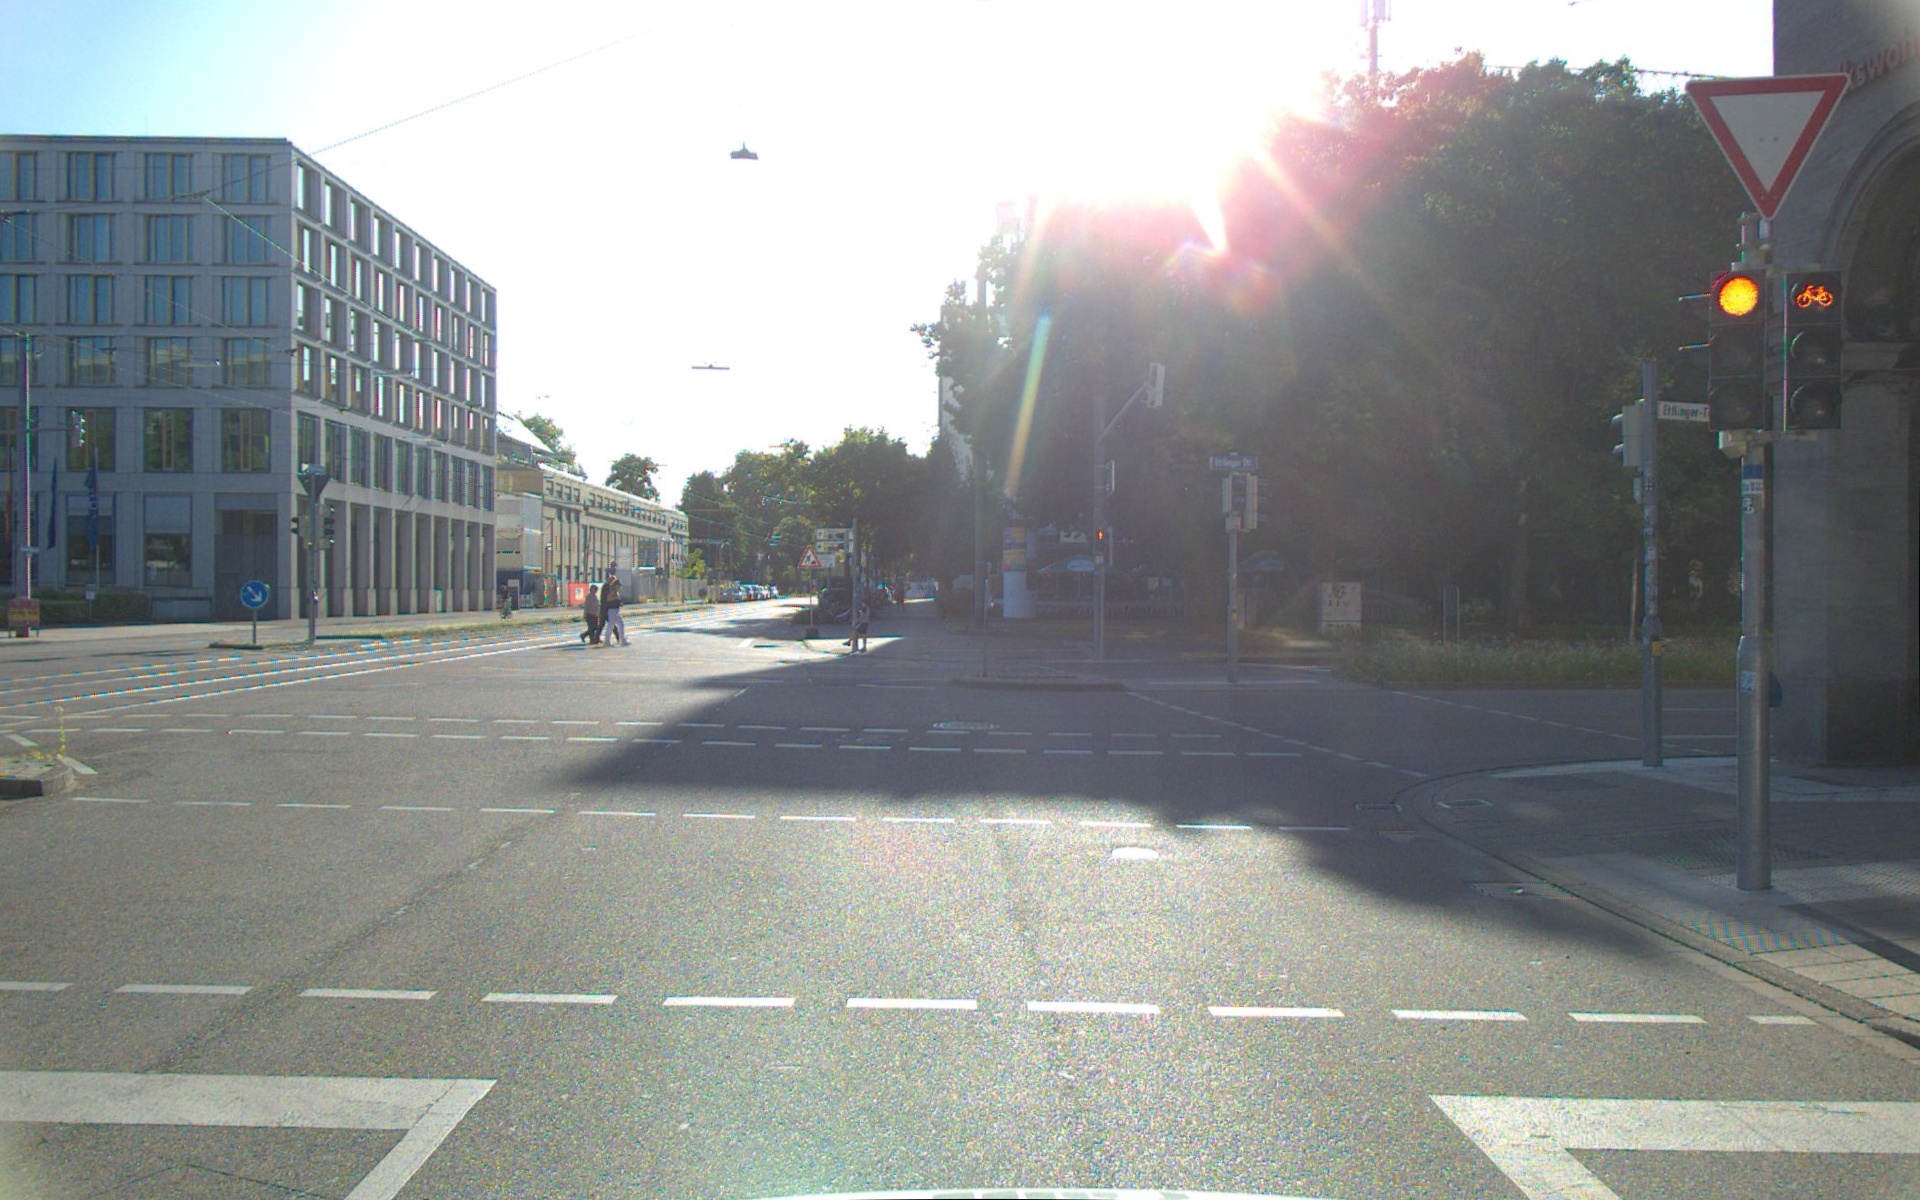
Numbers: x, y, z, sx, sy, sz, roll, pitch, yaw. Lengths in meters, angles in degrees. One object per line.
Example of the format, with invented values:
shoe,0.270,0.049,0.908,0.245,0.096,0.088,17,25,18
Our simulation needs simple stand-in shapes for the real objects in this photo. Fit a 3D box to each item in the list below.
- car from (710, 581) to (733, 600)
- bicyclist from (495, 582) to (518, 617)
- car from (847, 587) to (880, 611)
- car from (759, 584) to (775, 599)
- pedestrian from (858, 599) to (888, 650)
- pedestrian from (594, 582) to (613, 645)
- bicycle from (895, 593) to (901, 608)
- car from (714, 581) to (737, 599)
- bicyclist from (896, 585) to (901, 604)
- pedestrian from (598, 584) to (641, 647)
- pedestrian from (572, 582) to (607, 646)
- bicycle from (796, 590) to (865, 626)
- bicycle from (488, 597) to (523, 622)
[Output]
car,-22.439,-0.893,155.692,1.695,1.682,3.999,0,0,-1
bicyclist,-21.996,-0.021,80.211,0.857,1.670,0.822,0,0,0
car,-5.281,-0.058,90.793,1.783,1.301,3.998,0,0,-3
car,-22.666,-0.992,194.124,1.453,1.780,3.999,0,0,-1
pedestrian,-2.330,0.647,44.293,0.737,1.356,0.742,0,0,0
pedestrian,-9.634,0.364,44.697,0.432,1.692,0.376,0,0,-2
bicycle,-3.739,0.021,99.925,0.317,0.883,1.483,0,0,-1
car,-22.616,-0.970,159.813,1.695,1.682,3.999,0,0,-1
bicyclist,-3.713,-0.345,99.869,0.312,1.147,0.291,0,0,-1
pedestrian,-8.832,0.388,42.886,0.964,1.615,0.660,0,-1,1
pedestrian,-9.724,0.372,43.452,0.779,1.668,0.533,0,0,2
bicycle,-5.232,0.331,67.053,2.688,1.391,0.631,1,-1,10
bicycle,-22.006,0.444,80.186,0.857,1.140,3.013,0,0,0
